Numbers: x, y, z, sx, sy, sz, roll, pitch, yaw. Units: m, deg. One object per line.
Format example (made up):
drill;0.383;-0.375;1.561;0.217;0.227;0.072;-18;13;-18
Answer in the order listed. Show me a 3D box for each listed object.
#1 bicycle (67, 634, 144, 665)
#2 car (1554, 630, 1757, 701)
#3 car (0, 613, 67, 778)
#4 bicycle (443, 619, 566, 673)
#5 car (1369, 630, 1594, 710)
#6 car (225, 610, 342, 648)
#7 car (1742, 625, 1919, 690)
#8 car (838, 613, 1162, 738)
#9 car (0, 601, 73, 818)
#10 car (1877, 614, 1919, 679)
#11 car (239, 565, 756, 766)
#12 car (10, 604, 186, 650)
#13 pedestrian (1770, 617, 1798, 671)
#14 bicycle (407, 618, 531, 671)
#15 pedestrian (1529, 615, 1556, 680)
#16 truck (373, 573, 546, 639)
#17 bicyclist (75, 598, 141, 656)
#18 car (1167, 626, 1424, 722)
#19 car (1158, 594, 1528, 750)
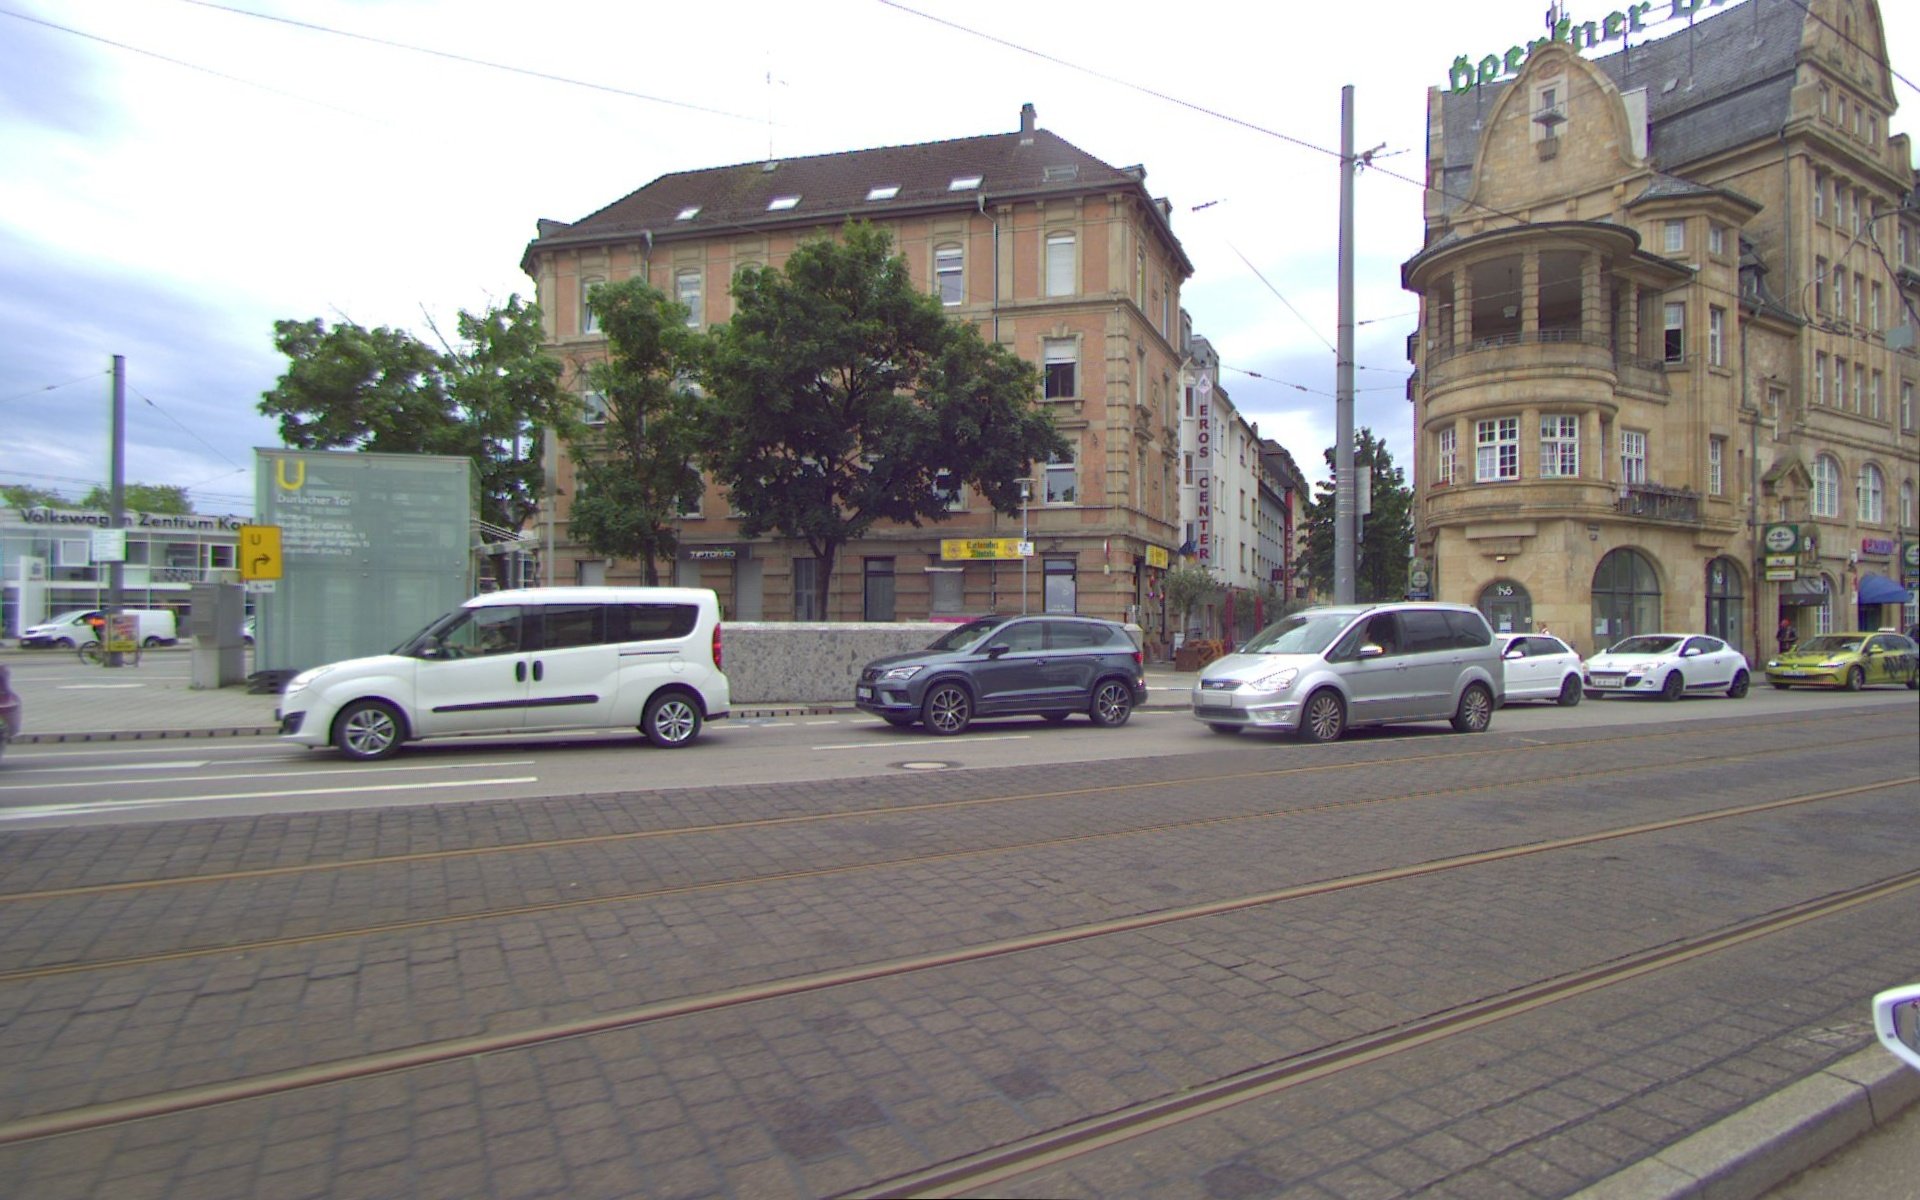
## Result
bicycle;-24.560;1.409;28.912;0.547;0.859;2.072;0;-1;-4
car;15.220;1.363;21.953;4.203;1.398;1.919;1;-1;-27
car;-10.561;0.827;8.636;3.947;1.461;1.683;1;-2;-26
bicycle;-12.390;1.239;27.478;0.943;1.372;3.116;1;-2;28
car;10.073;1.305;19.346;4.309;1.397;1.740;1;-4;-29
car;-34.207;1.452;50.938;1.963;1.863;4.518;0;-1;26
car;22.447;1.424;25.545;4.358;1.530;1.898;0;-2;-18
car;0.573;1.014;14.301;4.244;1.554;1.858;1;-3;-25
car;-8.410;0.713;6.276;3.947;1.461;1.683;1;-2;-26
car;31.857;1.468;32.428;5.038;2.003;1.890;1;-4;-31
car;-5.084;0.685;11.662;5.032;1.941;1.857;1;-1;-25
car;-37.468;1.178;43.855;2.122;1.881;5.444;0;-1;24
pedestrian;27.131;1.438;33.065;0.757;1.751;0.491;1;-1;-33
bicycle;-13.588;1.225;27.954;0.943;1.372;3.116;1;-2;28
pedestrian;15.860;1.287;27.348;0.522;1.742;0.632;0;-1;21
truck;-29.469;0.467;59.738;2.753;3.596;9.208;1;-2;30
bicyclist;-24.557;0.782;28.982;0.814;1.642;1.321;0;-1;-4
car;5.545;1.170;16.595;3.844;1.417;1.857;1;-3;-27
car;5.101;0.871;13.211;4.849;1.728;1.855;1;-2;-29
